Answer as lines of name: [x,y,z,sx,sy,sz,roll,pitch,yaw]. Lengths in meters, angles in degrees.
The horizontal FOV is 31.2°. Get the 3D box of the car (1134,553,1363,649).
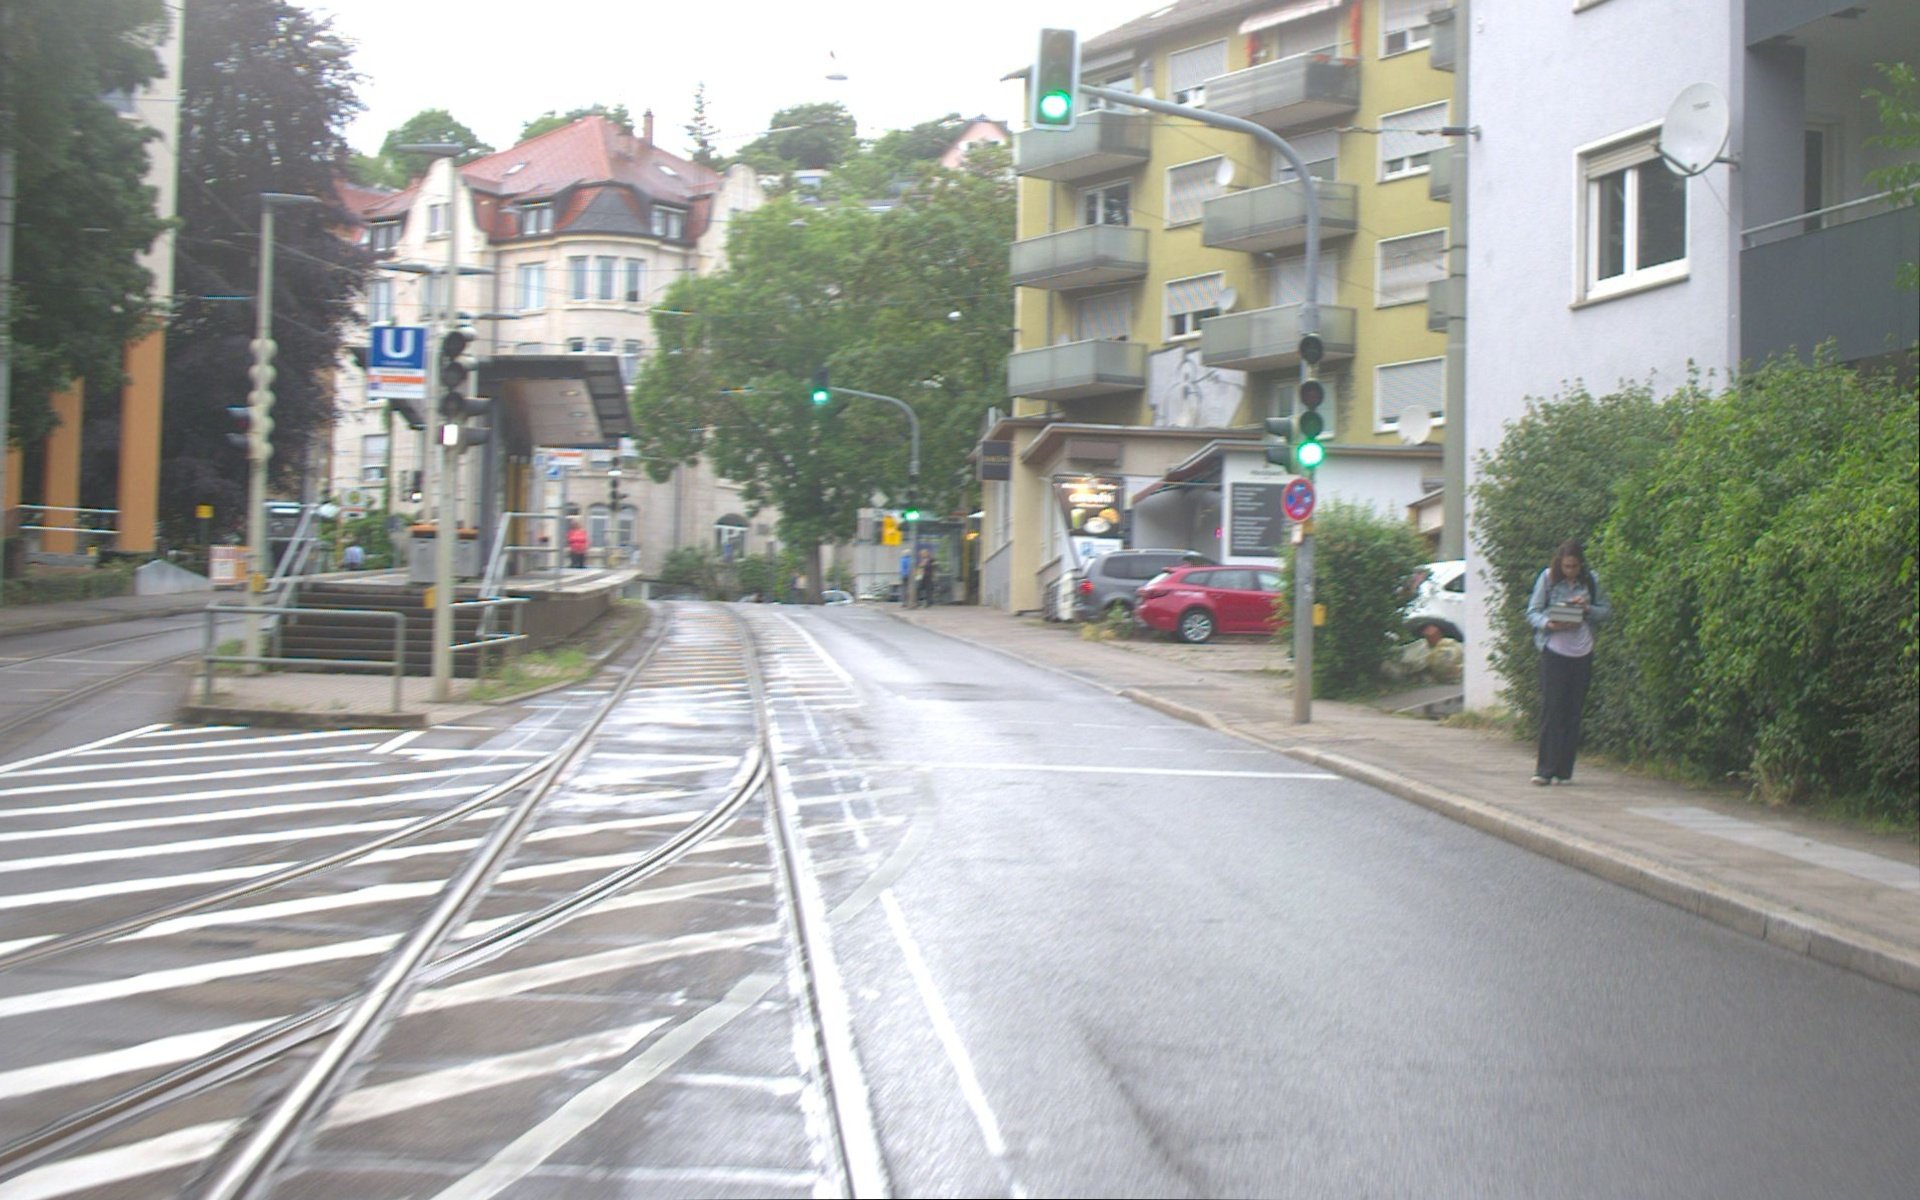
car: [5.248,0.028,62.808,3.841,1.537,1.808,3,-2,-5]

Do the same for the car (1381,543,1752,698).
car: [7.231,0.268,41.222,3.986,1.640,1.808,3,-2,-5]

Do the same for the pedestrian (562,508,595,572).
pedestrian: [-9.132,-1.435,82.397,0.657,1.462,0.772,2,-3,-1]

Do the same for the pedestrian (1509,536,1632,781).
pedestrian: [4.159,0.400,23.460,0.644,1.623,0.699,2,-1,-2]

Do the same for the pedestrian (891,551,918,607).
pedestrian: [-1.485,-0.574,92.762,0.578,1.462,0.544,3,-4,-12]

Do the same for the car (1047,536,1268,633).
car: [3.795,-0.278,66.443,3.986,1.640,1.808,3,-2,-4]
